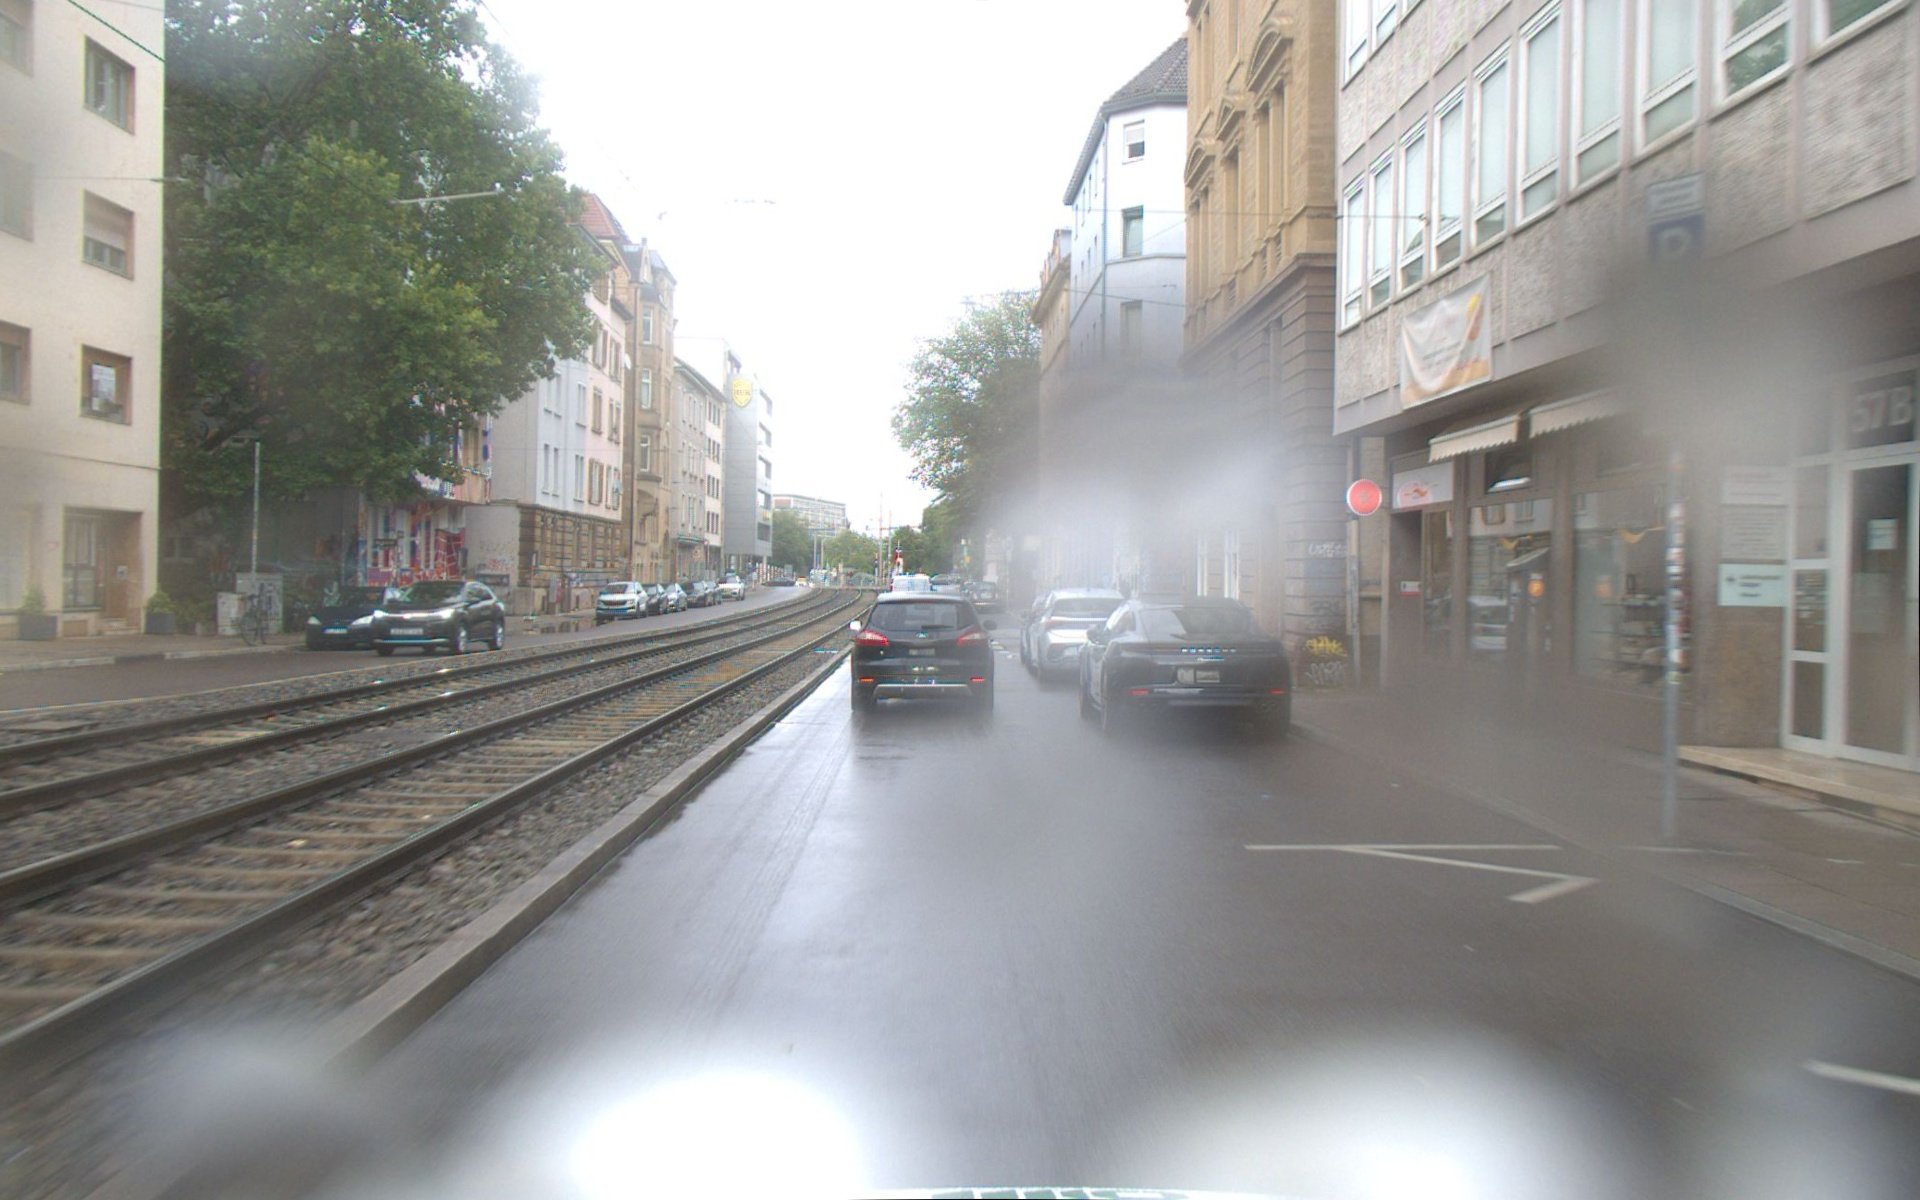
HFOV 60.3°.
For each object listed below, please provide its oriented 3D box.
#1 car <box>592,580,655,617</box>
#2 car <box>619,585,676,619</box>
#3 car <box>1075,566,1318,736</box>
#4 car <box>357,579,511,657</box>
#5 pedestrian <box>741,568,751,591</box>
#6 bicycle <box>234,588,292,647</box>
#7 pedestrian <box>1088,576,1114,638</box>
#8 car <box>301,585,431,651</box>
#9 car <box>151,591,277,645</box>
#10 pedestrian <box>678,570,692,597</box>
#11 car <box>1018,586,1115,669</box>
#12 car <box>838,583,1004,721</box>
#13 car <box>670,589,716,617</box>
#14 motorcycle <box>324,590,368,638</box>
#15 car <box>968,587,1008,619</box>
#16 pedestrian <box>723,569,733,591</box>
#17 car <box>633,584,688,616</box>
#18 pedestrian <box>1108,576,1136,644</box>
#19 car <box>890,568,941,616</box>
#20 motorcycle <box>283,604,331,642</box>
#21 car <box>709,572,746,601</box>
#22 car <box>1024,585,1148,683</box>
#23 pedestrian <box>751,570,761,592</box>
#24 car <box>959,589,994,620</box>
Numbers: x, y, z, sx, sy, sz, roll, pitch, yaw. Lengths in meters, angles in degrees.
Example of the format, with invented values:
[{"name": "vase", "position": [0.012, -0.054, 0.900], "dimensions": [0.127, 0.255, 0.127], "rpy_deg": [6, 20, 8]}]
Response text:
[{"name": "car", "position": [-14.809, -0.084, 73.033], "dimensions": [1.953, 1.545, 4.434], "rpy_deg": [1, 0, -1]}, {"name": "car", "position": [-14.901, 0.075, 79.034], "dimensions": [1.953, 1.545, 4.208], "rpy_deg": [1, 0, -1]}, {"name": "car", "position": [2.424, 0.511, 18.108], "dimensions": [1.953, 1.622, 4.570], "rpy_deg": [0, -1, -1]}, {"name": "car", "position": [-11.204, 0.357, 35.571], "dimensions": [1.953, 1.545, 4.443], "rpy_deg": [1, 0, -1]}, {"name": "pedestrian", "position": [-18.042, -1.750, 139.224], "dimensions": [0.729, 1.886, 0.838], "rpy_deg": [0, -1, -2]}, {"name": "bicycle", "position": [-15.598, 0.387, 37.064], "dimensions": [0.580, 1.248, 2.399], "rpy_deg": [1, -1, -8]}, {"name": "pedestrian", "position": [4.296, 0.213, 50.462], "dimensions": [0.648, 1.884, 0.821], "rpy_deg": [1, 0, -2]}, {"name": "car", "position": [-14.259, 0.405, 39.935], "dimensions": [1.708, 1.494, 4.218], "rpy_deg": [0, 0, -1]}, {"name": "car", "position": [-21.486, 0.477, 47.828], "dimensions": [1.953, 1.480, 3.998], "rpy_deg": [0, 0, -2]}, {"name": "pedestrian", "position": [-18.014, -1.070, 108.279], "dimensions": [0.785, 1.781, 0.984], "rpy_deg": [1, 0, -2]}, {"name": "car", "position": [2.141, 0.513, 34.124], "dimensions": [1.685, 1.542, 4.258], "rpy_deg": [1, 1, 0]}, {"name": "car", "position": [-0.488, 0.637, 21.681], "dimensions": [1.953, 1.622, 4.270], "rpy_deg": [0, -1, -1]}, {"name": "car", "position": [-15.201, 0.156, 94.458], "dimensions": [1.953, 1.545, 4.674], "rpy_deg": [1, 0, -1]}, {"name": "motorcycle", "position": [-18.740, 0.412, 50.531], "dimensions": [0.626, 1.403, 2.118], "rpy_deg": [1, 0, -3]}, {"name": "car", "position": [1.352, 0.122, 81.176], "dimensions": [1.704, 1.515, 3.999], "rpy_deg": [1, 1, -2]}, {"name": "pedestrian", "position": [-19.504, -1.685, 139.118], "dimensions": [0.729, 1.886, 0.838], "rpy_deg": [0, -1, -2]}, {"name": "car", "position": [-15.158, -0.015, 83.871], "dimensions": [1.953, 1.545, 4.990], "rpy_deg": [1, 0, -1]}, {"name": "pedestrian", "position": [4.931, 0.294, 50.499], "dimensions": [0.721, 2.049, 0.821], "rpy_deg": [1, 0, -2]}, {"name": "car", "position": [-1.747, -0.271, 65.924], "dimensions": [1.953, 1.848, 4.270], "rpy_deg": [0, -1, -1]}, {"name": "motorcycle", "position": [-18.868, 0.656, 47.853], "dimensions": [0.626, 1.051, 2.118], "rpy_deg": [1, 0, -3]}, {"name": "car", "position": [-15.725, -0.920, 112.223], "dimensions": [1.953, 1.871, 5.068], "rpy_deg": [1, 0, -2]}, {"name": "car", "position": [2.154, 0.539, 29.327], "dimensions": [1.711, 1.549, 4.354], "rpy_deg": [1, 1, -2]}, {"name": "pedestrian", "position": [-17.935, -1.683, 145.449], "dimensions": [0.729, 1.886, 0.838], "rpy_deg": [0, -1, -2]}, {"name": "car", "position": [0.820, 0.219, 86.002], "dimensions": [1.609, 1.542, 4.037], "rpy_deg": [1, 1, -2]}]
